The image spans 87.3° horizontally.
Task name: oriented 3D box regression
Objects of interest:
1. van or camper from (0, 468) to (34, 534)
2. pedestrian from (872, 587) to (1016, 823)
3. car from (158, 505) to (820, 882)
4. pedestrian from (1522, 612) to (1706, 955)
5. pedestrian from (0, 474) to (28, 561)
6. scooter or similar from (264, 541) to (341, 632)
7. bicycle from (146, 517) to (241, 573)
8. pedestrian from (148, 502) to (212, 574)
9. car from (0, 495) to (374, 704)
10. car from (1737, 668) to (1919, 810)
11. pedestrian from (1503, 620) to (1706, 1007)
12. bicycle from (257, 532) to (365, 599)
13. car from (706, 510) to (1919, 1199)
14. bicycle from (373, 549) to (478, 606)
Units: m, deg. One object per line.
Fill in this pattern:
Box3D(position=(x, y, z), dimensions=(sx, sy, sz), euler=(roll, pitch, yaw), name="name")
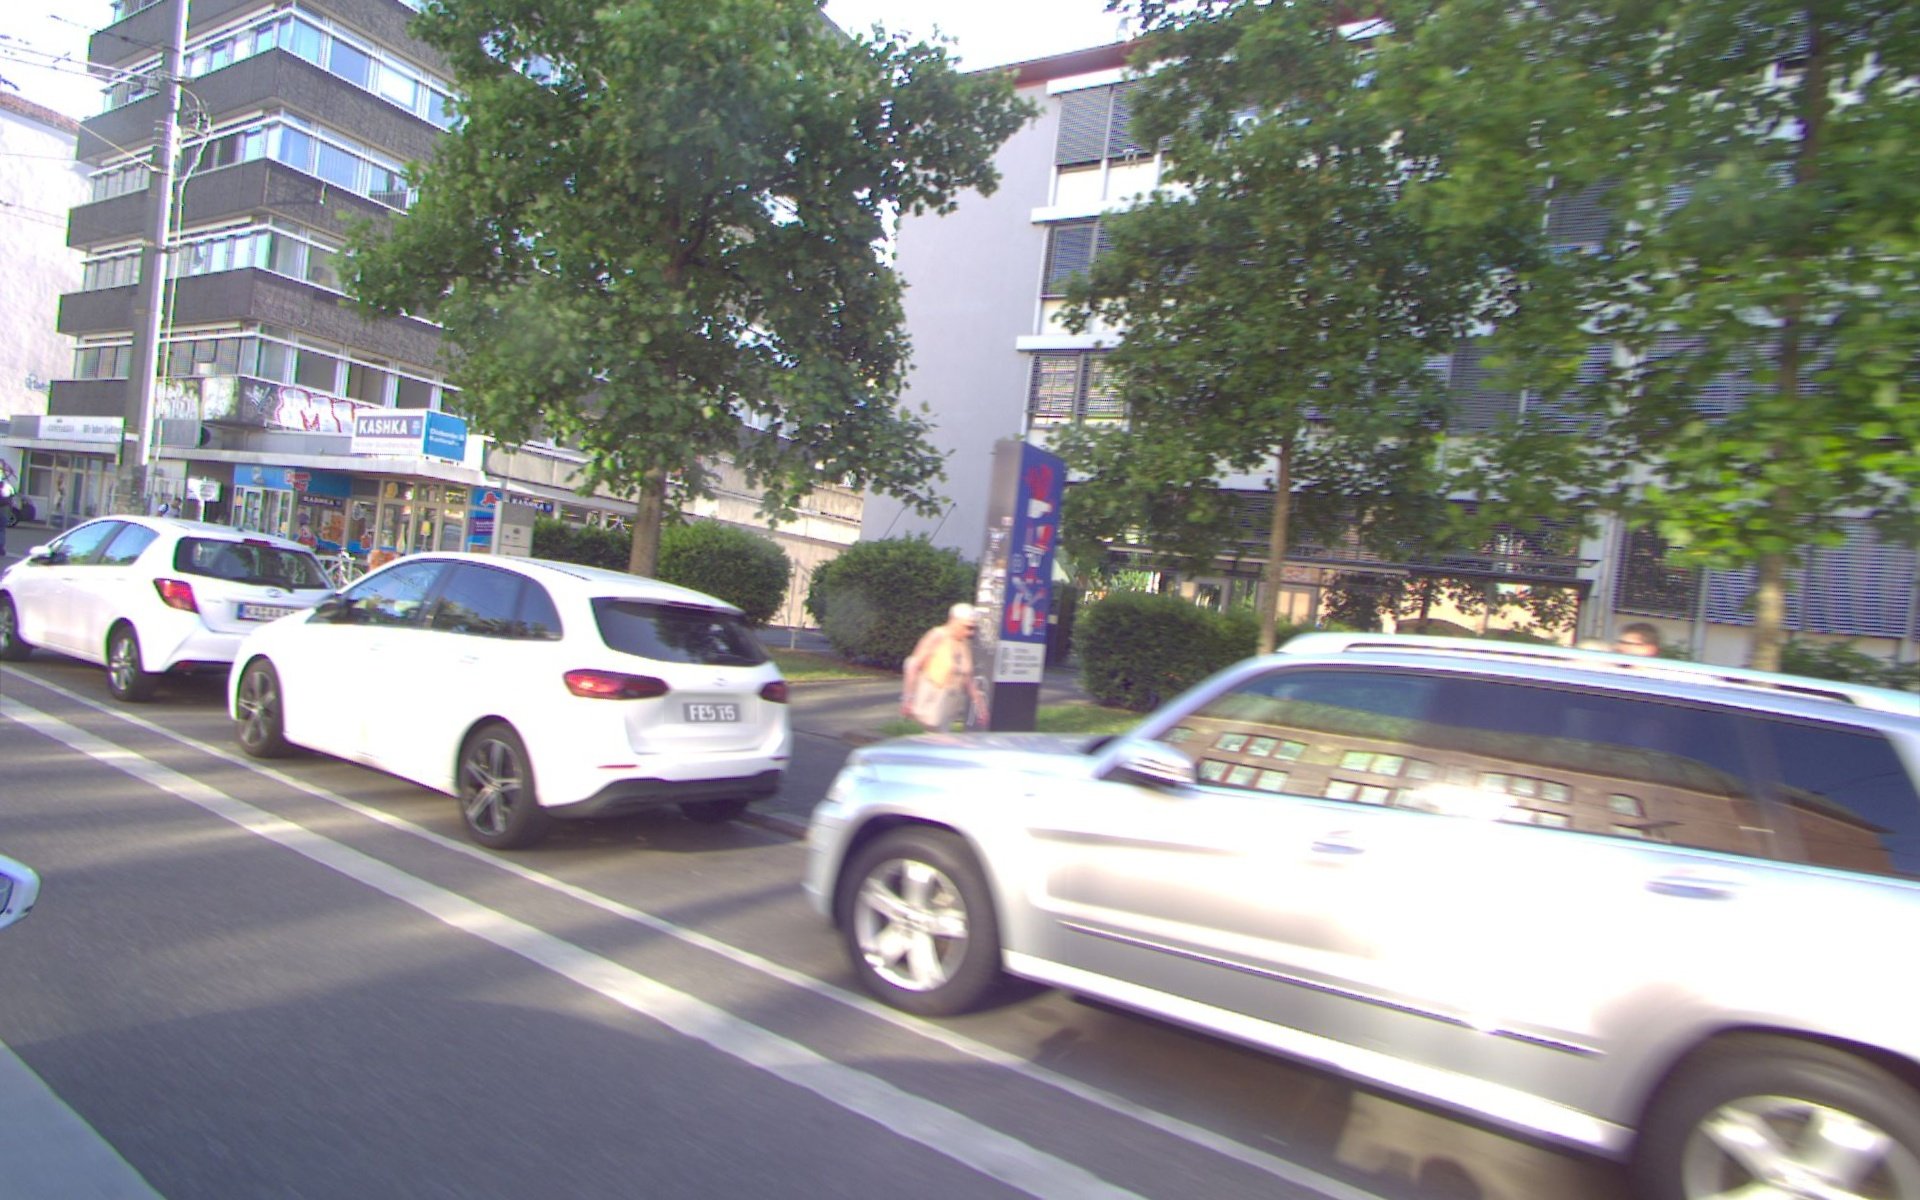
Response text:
Box3D(position=(-34.522, -3.570, 33.837), dimensions=(1.956, 2.164, 4.641), euler=(6, 2, 35), name="van or camper")
Box3D(position=(-0.112, 0.733, 7.229), dimensions=(0.615, 1.551, 0.641), euler=(7, 1, 35), name="pedestrian")
Box3D(position=(-3.204, 0.415, 6.556), dimensions=(4.368, 1.588, 1.545), euler=(6, -2, 30), name="car")
Box3D(position=(4.061, 1.073, 6.251), dimensions=(0.736, 1.923, 0.667), euler=(7, 4, 37), name="pedestrian")
Box3D(position=(-20.945, -1.820, 21.829), dimensions=(0.874, 1.834, 0.722), euler=(6, 0, 32), name="pedestrian")
Box3D(position=(-10.148, -0.216, 15.514), dimensions=(1.339, 1.250, 0.537), euler=(7, 1, 40), name="scooter or similar")
Box3D(position=(-20.444, -1.449, 26.900), dimensions=(0.790, 1.233, 2.182), euler=(6, -1, -1), name="bicycle")
Box3D(position=(-21.099, -1.672, 27.246), dimensions=(1.146, 1.750, 1.034), euler=(6, 1, -34), name="pedestrian")
Box3D(position=(-7.485, -0.039, 9.411), dimensions=(3.818, 1.459, 1.607), euler=(6, -3, 29), name="car")
Box3D(position=(13.032, 1.984, 13.086), dimensions=(4.235, 1.555, 1.793), euler=(8, 0, 29), name="car")
Box3D(position=(3.613, 1.134, 5.661), dimensions=(0.736, 1.981, 0.464), euler=(7, 4, 37), name="pedestrian")
Box3D(position=(-13.147, -0.677, 20.432), dimensions=(0.569, 1.154, 1.681), euler=(6, 0, 35), name="bicycle")
Box3D(position=(1.520, 0.870, 3.922), dimensions=(4.631, 1.856, 1.930), euler=(7, -1, 29), name="car")
Box3D(position=(-12.382, -0.495, 23.382), dimensions=(0.581, 1.139, 2.205), euler=(7, 1, 23), name="bicycle")
